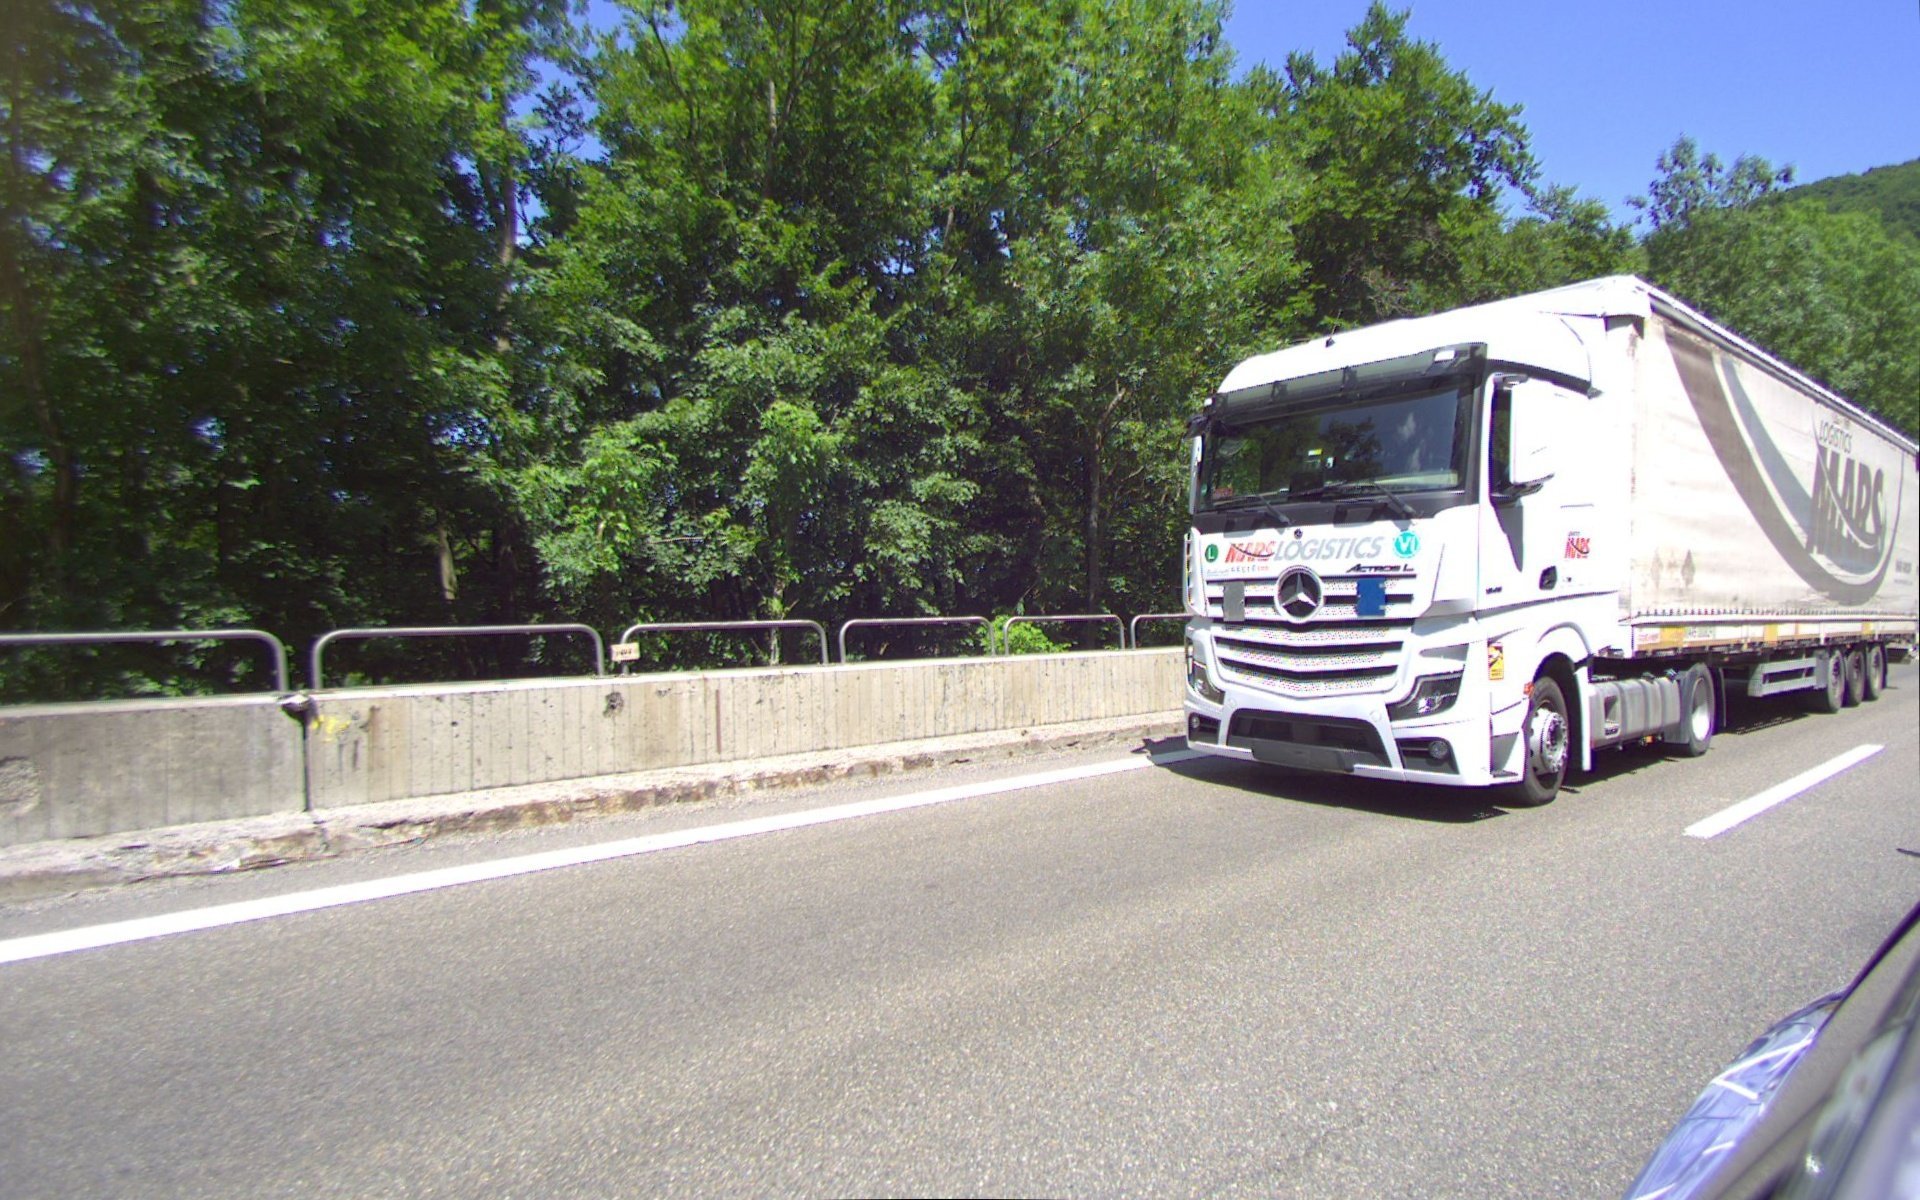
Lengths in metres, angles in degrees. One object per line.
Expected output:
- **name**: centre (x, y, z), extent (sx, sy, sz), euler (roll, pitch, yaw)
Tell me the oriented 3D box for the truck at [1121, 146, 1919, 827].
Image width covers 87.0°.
- **truck**: centre (8.655, -0.747, 12.552), extent (16.406, 4.185, 2.968), euler (0, 0, -39)
